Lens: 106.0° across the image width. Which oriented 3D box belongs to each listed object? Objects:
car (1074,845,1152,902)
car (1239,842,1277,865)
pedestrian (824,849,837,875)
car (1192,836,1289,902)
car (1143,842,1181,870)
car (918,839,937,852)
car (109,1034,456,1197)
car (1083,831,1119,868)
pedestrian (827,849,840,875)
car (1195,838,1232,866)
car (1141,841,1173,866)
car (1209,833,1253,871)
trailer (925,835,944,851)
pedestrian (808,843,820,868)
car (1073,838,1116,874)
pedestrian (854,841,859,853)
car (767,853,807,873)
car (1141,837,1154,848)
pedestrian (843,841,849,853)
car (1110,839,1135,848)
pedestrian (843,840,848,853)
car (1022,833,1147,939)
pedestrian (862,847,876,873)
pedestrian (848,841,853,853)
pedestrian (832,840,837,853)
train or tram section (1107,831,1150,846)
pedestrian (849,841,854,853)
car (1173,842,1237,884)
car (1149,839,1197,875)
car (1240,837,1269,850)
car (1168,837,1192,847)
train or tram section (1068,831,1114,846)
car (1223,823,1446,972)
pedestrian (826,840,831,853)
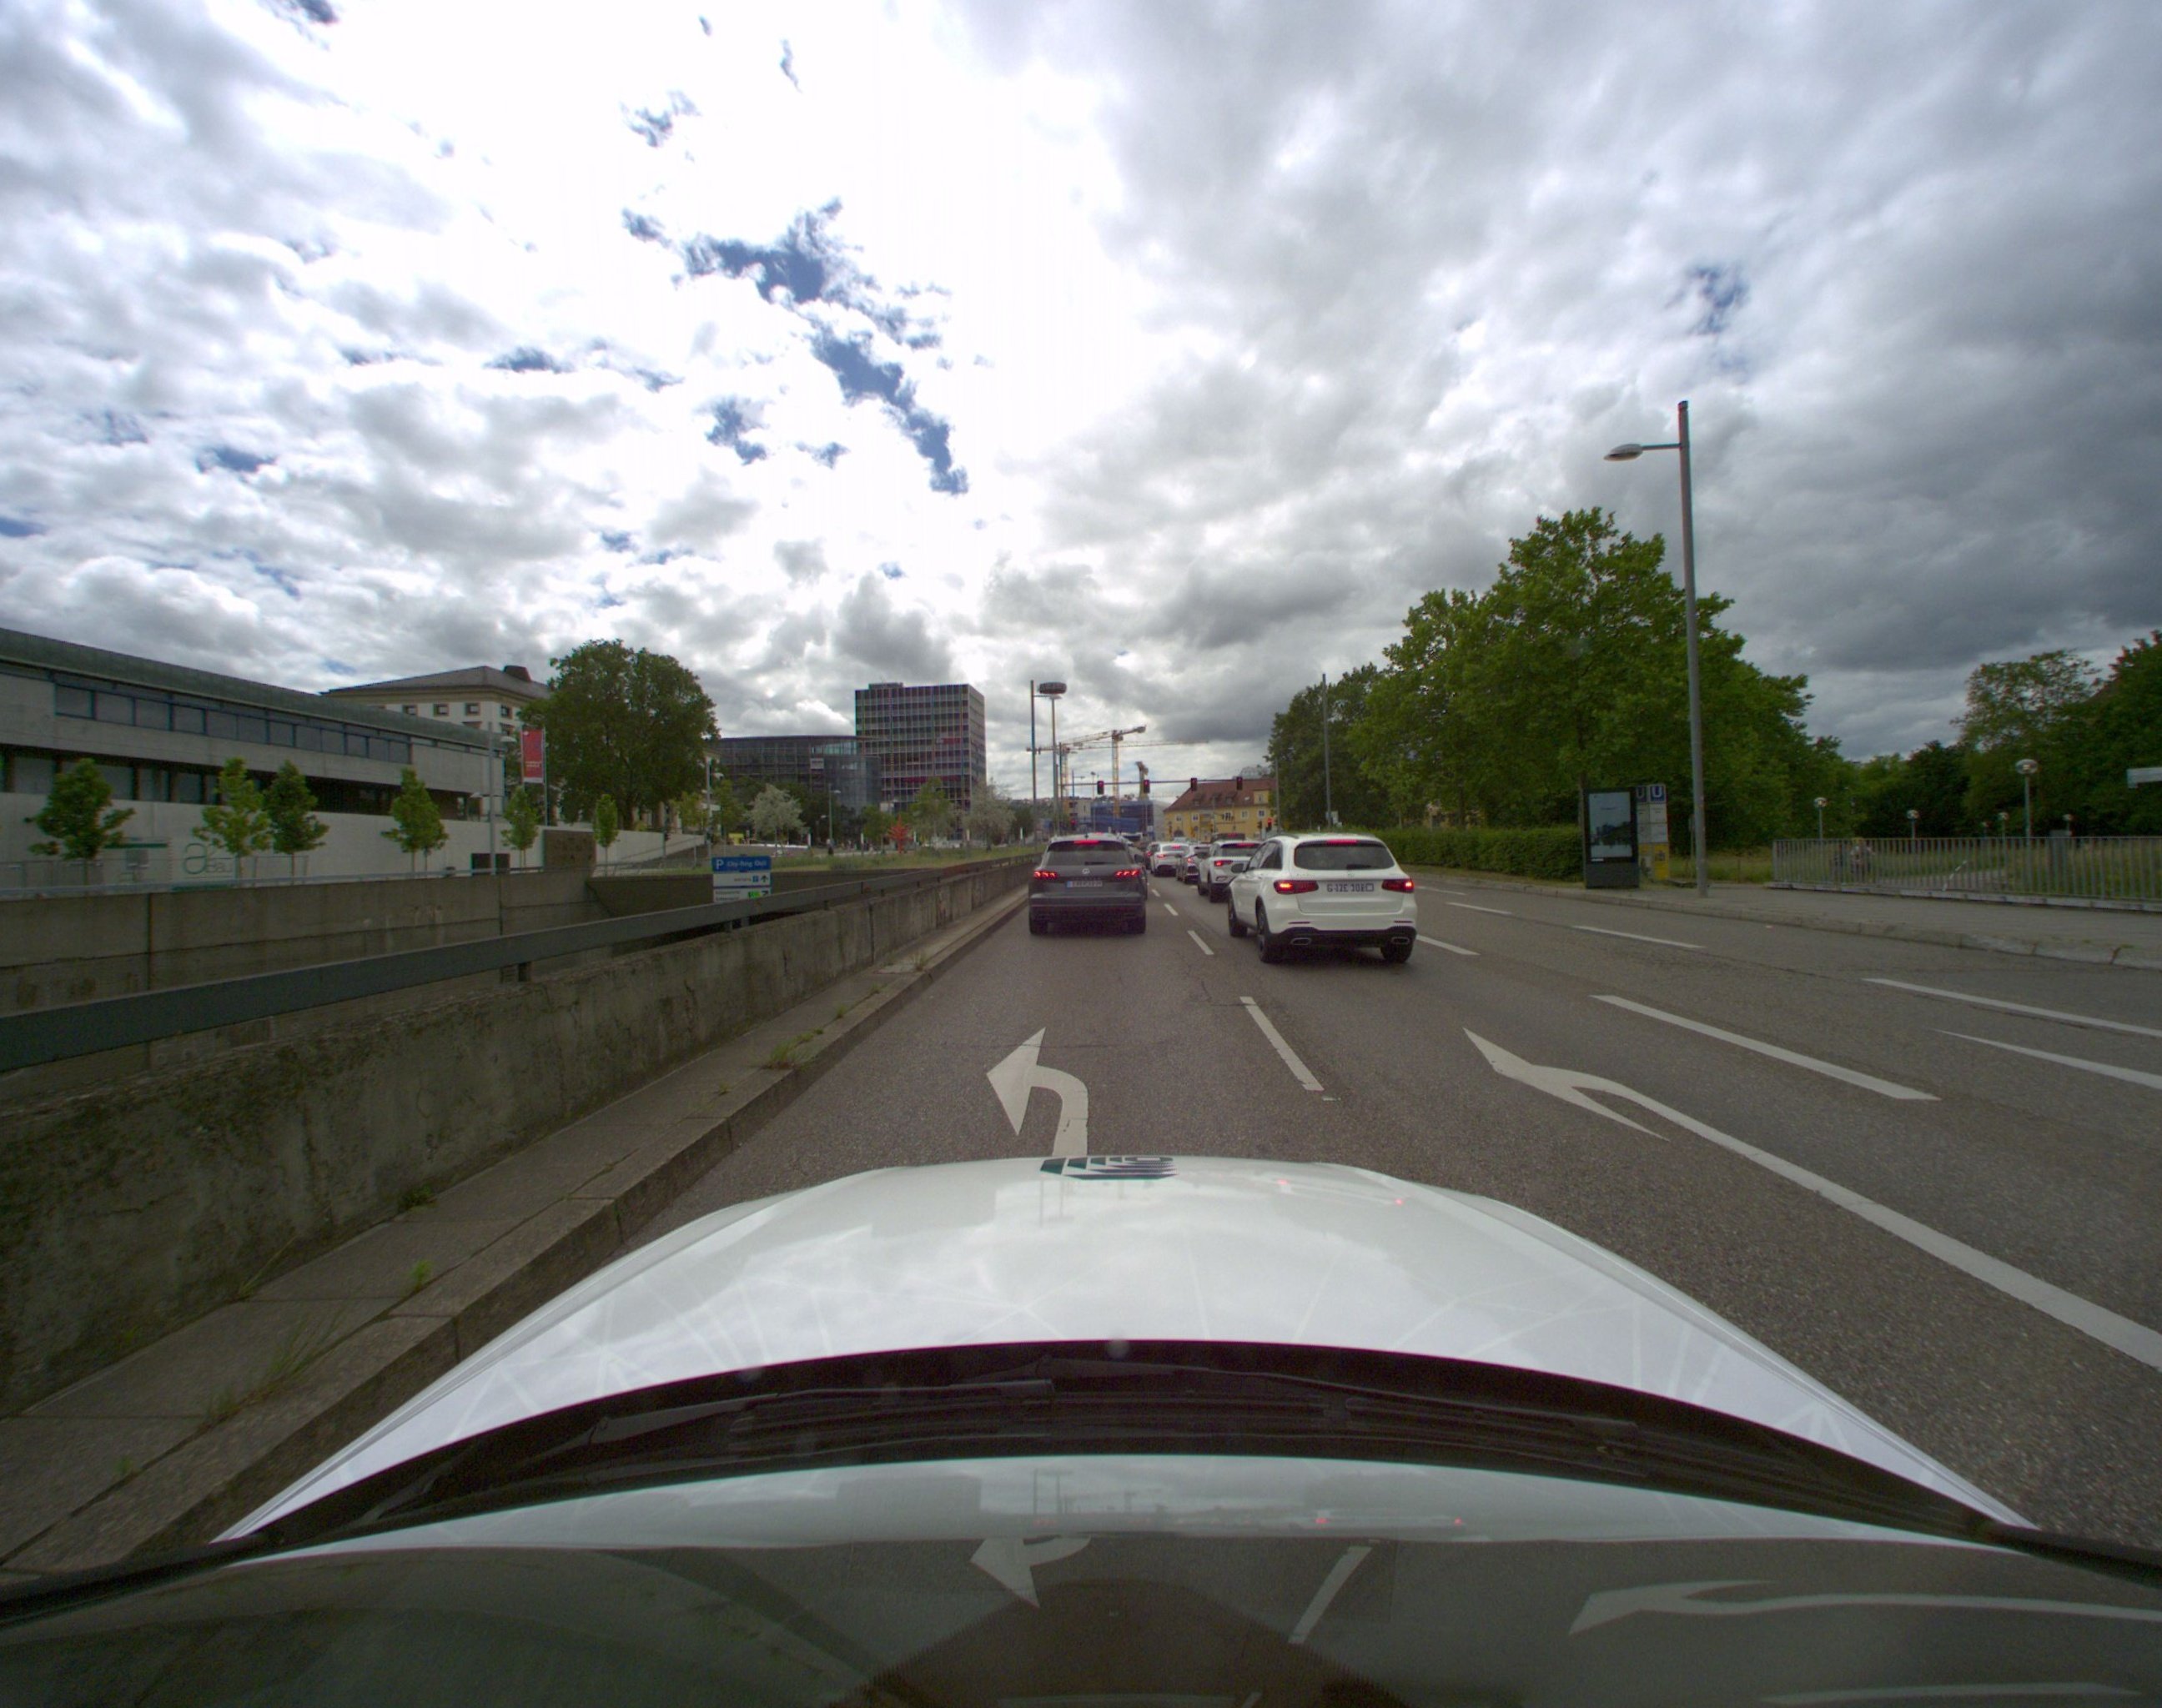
[{"bbox_3d":[0.853,0.464,22.251,1.944,1.384,3.932,1,1,1],"label":"car"},{"bbox_3d":[11.656,-0.011,53.694,1.751,1.447,3.634,0,0,0],"label":"car"},{"bbox_3d":[-19.421,0.613,63.128,0.794,2.013,0.830,-2,1,-26],"label":"pedestrian"},{"bbox_3d":[4.093,0.354,21.595,1.918,1.550,4.493,-1,0,3],"label":"car"},{"bbox_3d":[4.518,0.106,45.809,1.918,1.529,4.051,-1,0,3],"label":"car"},{"bbox_3d":[-24.907,-1.426,132.253,1.985,2.013,4.696,-1,2,2],"label":"car"},{"bbox_3d":[-16.329,5.272,17.227,1.987,1.639,5.249,-7,-2,0],"label":"car"},{"bbox_3d":[1.147,-0.248,46.627,1.944,2.018,3.932,1,1,1],"label":"car"},{"bbox_3d":[-19.400,0.621,63.951,0.794,2.013,0.830,-2,1,-26],"label":"pedestrian"},{"bbox_3d":[8.507,-0.116,52.673,1.902,1.697,4.015,0,0,3],"label":"car"},{"bbox_3d":[4.822,-0.017,52.094,1.918,1.529,4.051,-1,0,3],"label":"car"},{"bbox_3d":[8.502,-0.113,46.406,1.902,2.013,4.015,0,0,3],"label":"car"},{"bbox_3d":[-24.676,-1.882,137.360,2.030,2.604,5.511,1,1,2],"label":"trailer"},{"bbox_3d":[-22.276,0.099,67.851,0.729,2.012,0.628,-2,5,-6],"label":"pedestrian"},{"bbox_3d":[0.668,0.075,39.090,1.944,1.599,3.932,1,1,1],"label":"car"},{"bbox_3d":[-37.625,-1.181,136.481,0.740,2.013,1.108,-2,2,-18],"label":"pedestrian"},{"bbox_3d":[-28.733,0.846,79.764,2.167,1.854,4.737,-1,1,1],"label":"car"},{"bbox_3d":[9.735,-1.665,119.382,1.612,1.627,4.002,0,-1,3],"label":"car"},{"bbox_3d":[-39.141,-1.212,135.579,0.740,2.013,0.788,-2,2,-18],"label":"pedestrian"},{"bbox_3d":[7.507,-1.914,147.294,4.060,1.610,1.841,0,-1,37],"label":"car"},{"bbox_3d":[-38.914,-1.220,134.585,0.740,2.013,1.108,-2,2,-18],"label":"pedestrian"},{"bbox_3d":[0.110,0.470,14.683,1.944,1.651,4.002,0,1,1],"label":"car"},{"bbox_3d":[-16.456,0.461,63.299,0.857,2.013,0.629,-2,2,1],"label":"pedestrian"},{"bbox_3d":[-38.123,-1.211,134.793,0.740,2.013,0.788,-2,2,-18],"label":"pedestrian"},{"bbox_3d":[-40.732,-1.238,134.423,0.740,2.013,0.788,-2,2,-18],"label":"pedestrian"},{"bbox_3d":[10.042,-3.342,172.654,8.835,3.009,2.613,0,-1,34],"label":"train or tram section"},{"bbox_3d":[-38.585,-1.196,136.747,0.740,2.013,0.788,-2,2,-18],"label":"pedestrian"},{"bbox_3d":[4.529,0.305,30.253,1.918,1.432,4.493,-1,0,3],"label":"car"},{"bbox_3d":[4.103,0.123,36.991,1.918,1.529,4.493,-1,0,3],"label":"car"},{"bbox_3d":[27.304,-1.678,127.922,3.948,2.014,2.013,0,-1,35],"label":"car"},{"bbox_3d":[19.590,-2.369,161.309,4.403,2.014,2.013,0,-1,35],"label":"car"},{"bbox_3d":[2.178,-3.305,178.080,10.295,3.009,2.613,0,-1,35],"label":"train or tram section"},{"bbox_3d":[3.239,0.459,11.409,1.918,1.653,4.493,-1,1,3],"label":"car"},{"bbox_3d":[-41.831,-1.244,134.825,0.740,2.013,0.788,-2,2,-18],"label":"pedestrian"}]
